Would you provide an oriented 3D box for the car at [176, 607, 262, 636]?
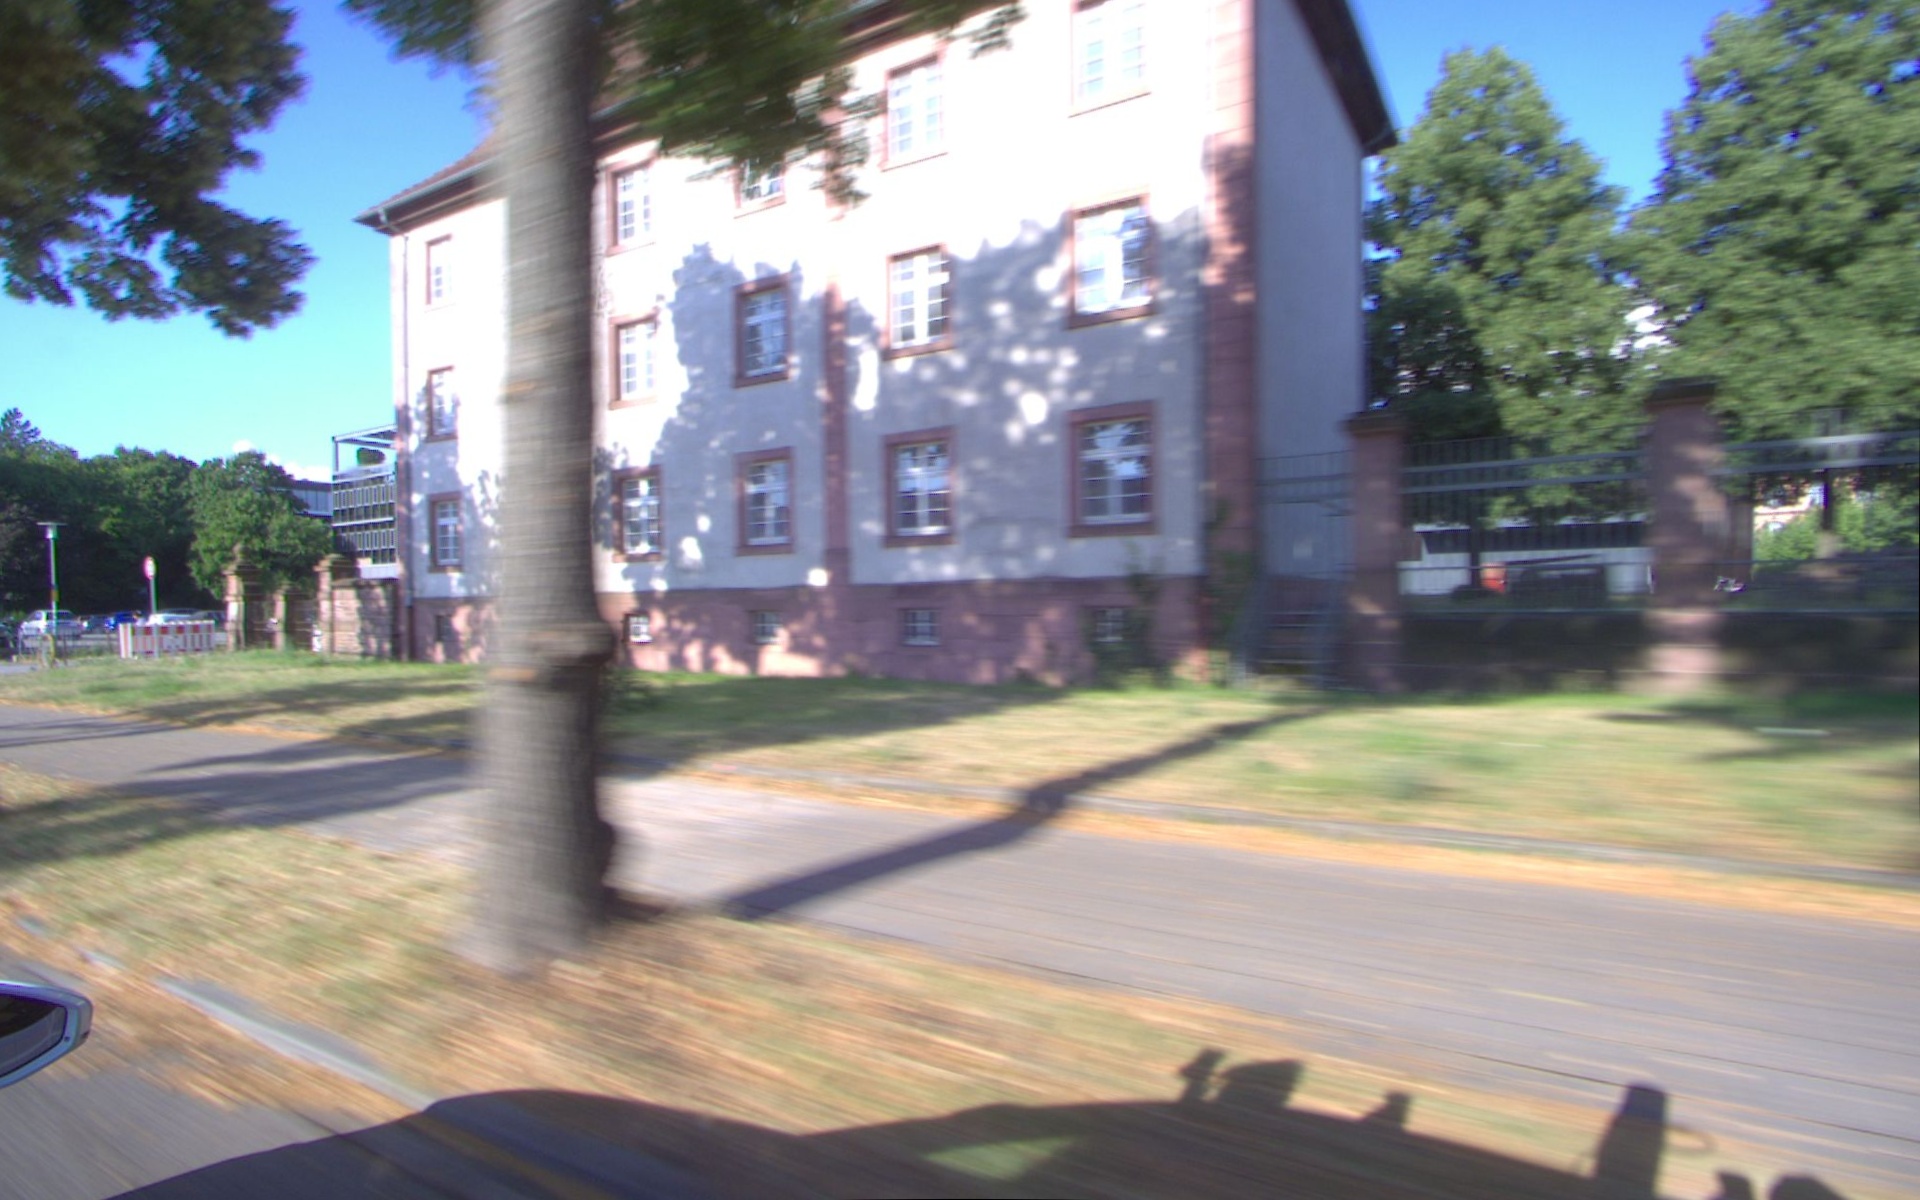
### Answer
[{"bbox_3d":[-46.473,1.391,62.847,1.748,1.750,3.979,-1,-2,33],"label":"car"}]

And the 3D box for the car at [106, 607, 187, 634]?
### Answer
[{"bbox_3d":[-55.396,1.427,68.228,1.748,1.750,3.979,-1,-2,33],"label":"car"}]

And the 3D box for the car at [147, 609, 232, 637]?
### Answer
[{"bbox_3d":[-49.134,1.483,63.907,1.748,1.750,3.979,-1,-2,33],"label":"car"}]

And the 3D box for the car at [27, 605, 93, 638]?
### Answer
[{"bbox_3d":[-46.627,1.147,51.866,3.578,1.579,1.808,-2,-3,35],"label":"car"}]
